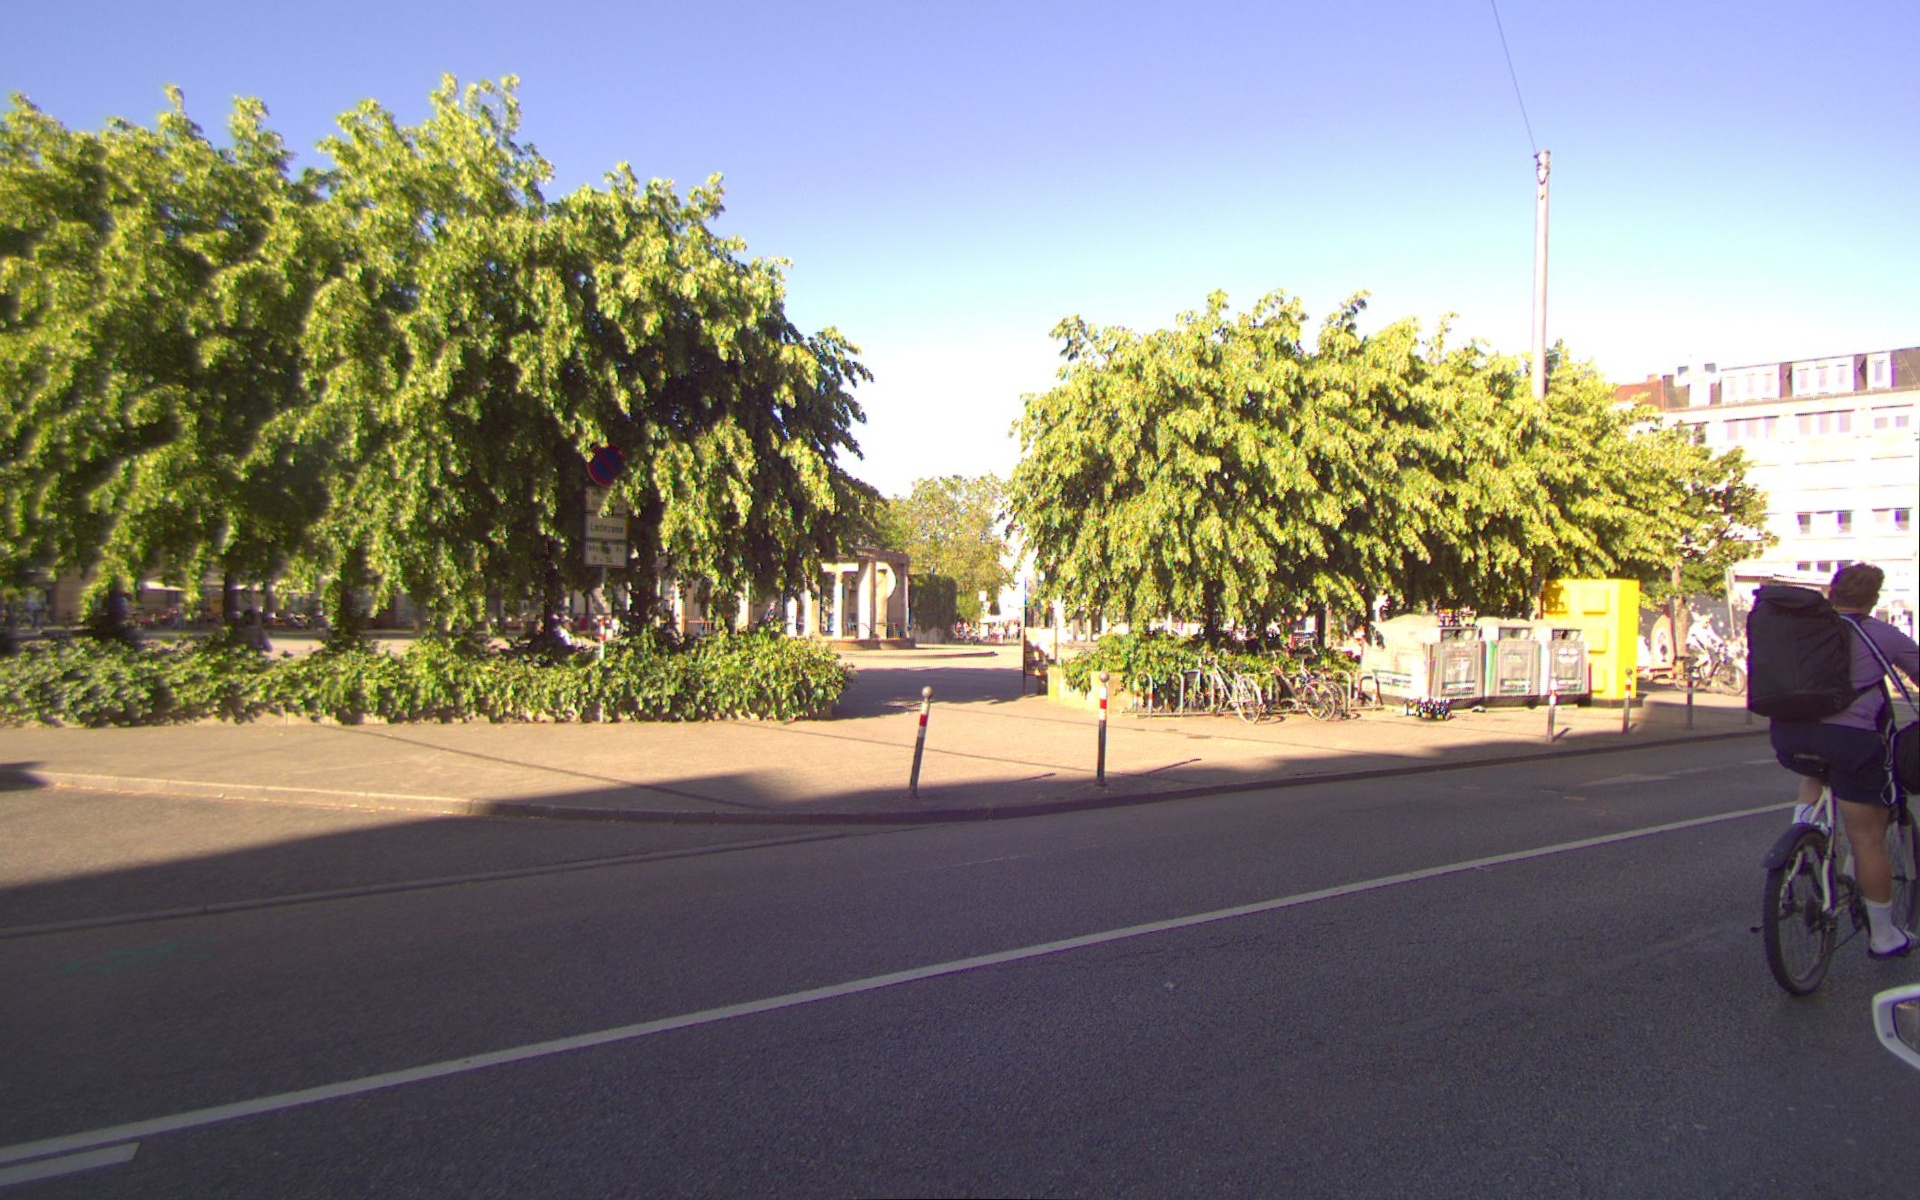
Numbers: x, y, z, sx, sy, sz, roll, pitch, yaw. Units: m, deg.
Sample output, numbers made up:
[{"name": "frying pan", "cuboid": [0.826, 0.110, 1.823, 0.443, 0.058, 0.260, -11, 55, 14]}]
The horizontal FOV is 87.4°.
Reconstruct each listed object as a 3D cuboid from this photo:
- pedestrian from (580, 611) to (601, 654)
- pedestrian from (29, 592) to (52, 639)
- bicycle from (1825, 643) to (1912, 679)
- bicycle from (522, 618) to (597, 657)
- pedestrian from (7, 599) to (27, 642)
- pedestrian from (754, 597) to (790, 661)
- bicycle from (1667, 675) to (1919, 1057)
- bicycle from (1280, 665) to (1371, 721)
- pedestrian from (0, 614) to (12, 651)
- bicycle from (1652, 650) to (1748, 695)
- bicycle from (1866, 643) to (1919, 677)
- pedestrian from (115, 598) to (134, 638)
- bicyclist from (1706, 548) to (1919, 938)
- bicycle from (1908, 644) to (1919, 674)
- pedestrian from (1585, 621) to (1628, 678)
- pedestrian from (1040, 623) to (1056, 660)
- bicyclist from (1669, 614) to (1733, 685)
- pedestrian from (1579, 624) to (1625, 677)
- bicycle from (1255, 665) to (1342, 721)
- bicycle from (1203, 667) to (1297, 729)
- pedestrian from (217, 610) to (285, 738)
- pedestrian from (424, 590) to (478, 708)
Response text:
[{"name": "pedestrian", "cuboid": [-15.227, 1.351, 41.435, 0.579, 1.744, 0.593, 2, 0, -44]}, {"name": "pedestrian", "cuboid": [-35.741, 0.602, 39.048, 0.597, 1.816, 0.576, 2, 0, -40]}, {"name": "bicycle", "cuboid": [30.857, 2.068, 34.156, 0.796, 1.119, 2.073, 1, -1, -30]}, {"name": "bicycle", "cuboid": [-11.183, 1.037, 28.036, 2.018, 1.030, 0.504, 1, 0, 16]}, {"name": "pedestrian", "cuboid": [-40.292, 0.884, 42.916, 0.579, 1.816, 0.593, 2, 0, -44]}, {"name": "pedestrian", "cuboid": [-5.316, 0.823, 28.421, 0.918, 1.775, 0.728, 2, 0, -15]}, {"name": "bicycle", "cuboid": [3.897, 0.983, 4.283, 1.753, 1.249, 0.792, 1, -1, -30]}, {"name": "bicycle", "cuboid": [5.956, 1.497, 16.419, 0.468, 0.779, 1.468, 2, 0, -27]}, {"name": "pedestrian", "cuboid": [-48.085, 1.613, 50.332, 0.571, 1.816, 0.601, 1, 0, 19]}, {"name": "bicycle", "cuboid": [18.123, 1.761, 24.649, 0.619, 0.958, 1.862, 1, 0, -18]}, {"name": "bicycle", "cuboid": [33.163, 2.115, 35.129, 0.796, 1.119, 2.073, 1, -1, -30]}, {"name": "pedestrian", "cuboid": [-38.758, 0.823, 46.609, 0.597, 1.816, 0.575, 2, 0, -44]}, {"name": "bicyclist", "cuboid": [3.857, 0.543, 4.254, 0.996, 1.454, 0.792, 1, -1, -30]}, {"name": "bicycle", "cuboid": [37.125, 2.249, 37.708, 0.796, 1.119, 2.073, 1, -1, -30]}, {"name": "pedestrian", "cuboid": [20.481, 1.557, 31.838, 0.734, 1.748, 0.898, 1, 0, -26]}, {"name": "pedestrian", "cuboid": [4.898, 2.322, 56.038, 0.670, 2.040, 0.579, 2, 0, -23]}, {"name": "bicyclist", "cuboid": [18.149, 1.191, 24.620, 0.619, 1.676, 1.119, 1, -1, -19]}, {"name": "pedestrian", "cuboid": [20.454, 1.593, 31.999, 0.727, 1.658, 0.983, 1, 0, -26]}, {"name": "bicycle", "cuboid": [5.440, 1.482, 16.214, 0.435, 0.779, 1.469, 2, 0, -25]}, {"name": "bicycle", "cuboid": [4.352, 1.460, 15.201, 0.467, 0.779, 1.653, 2, 0, -20]}, {"name": "pedestrian", "cuboid": [-10.732, 1.101, 15.222, 0.722, 1.881, 0.578, 2, 0, -28]}, {"name": "pedestrian", "cuboid": [-8.377, 0.794, 16.533, 0.574, 1.881, 0.598, 1, 0, 41]}]
